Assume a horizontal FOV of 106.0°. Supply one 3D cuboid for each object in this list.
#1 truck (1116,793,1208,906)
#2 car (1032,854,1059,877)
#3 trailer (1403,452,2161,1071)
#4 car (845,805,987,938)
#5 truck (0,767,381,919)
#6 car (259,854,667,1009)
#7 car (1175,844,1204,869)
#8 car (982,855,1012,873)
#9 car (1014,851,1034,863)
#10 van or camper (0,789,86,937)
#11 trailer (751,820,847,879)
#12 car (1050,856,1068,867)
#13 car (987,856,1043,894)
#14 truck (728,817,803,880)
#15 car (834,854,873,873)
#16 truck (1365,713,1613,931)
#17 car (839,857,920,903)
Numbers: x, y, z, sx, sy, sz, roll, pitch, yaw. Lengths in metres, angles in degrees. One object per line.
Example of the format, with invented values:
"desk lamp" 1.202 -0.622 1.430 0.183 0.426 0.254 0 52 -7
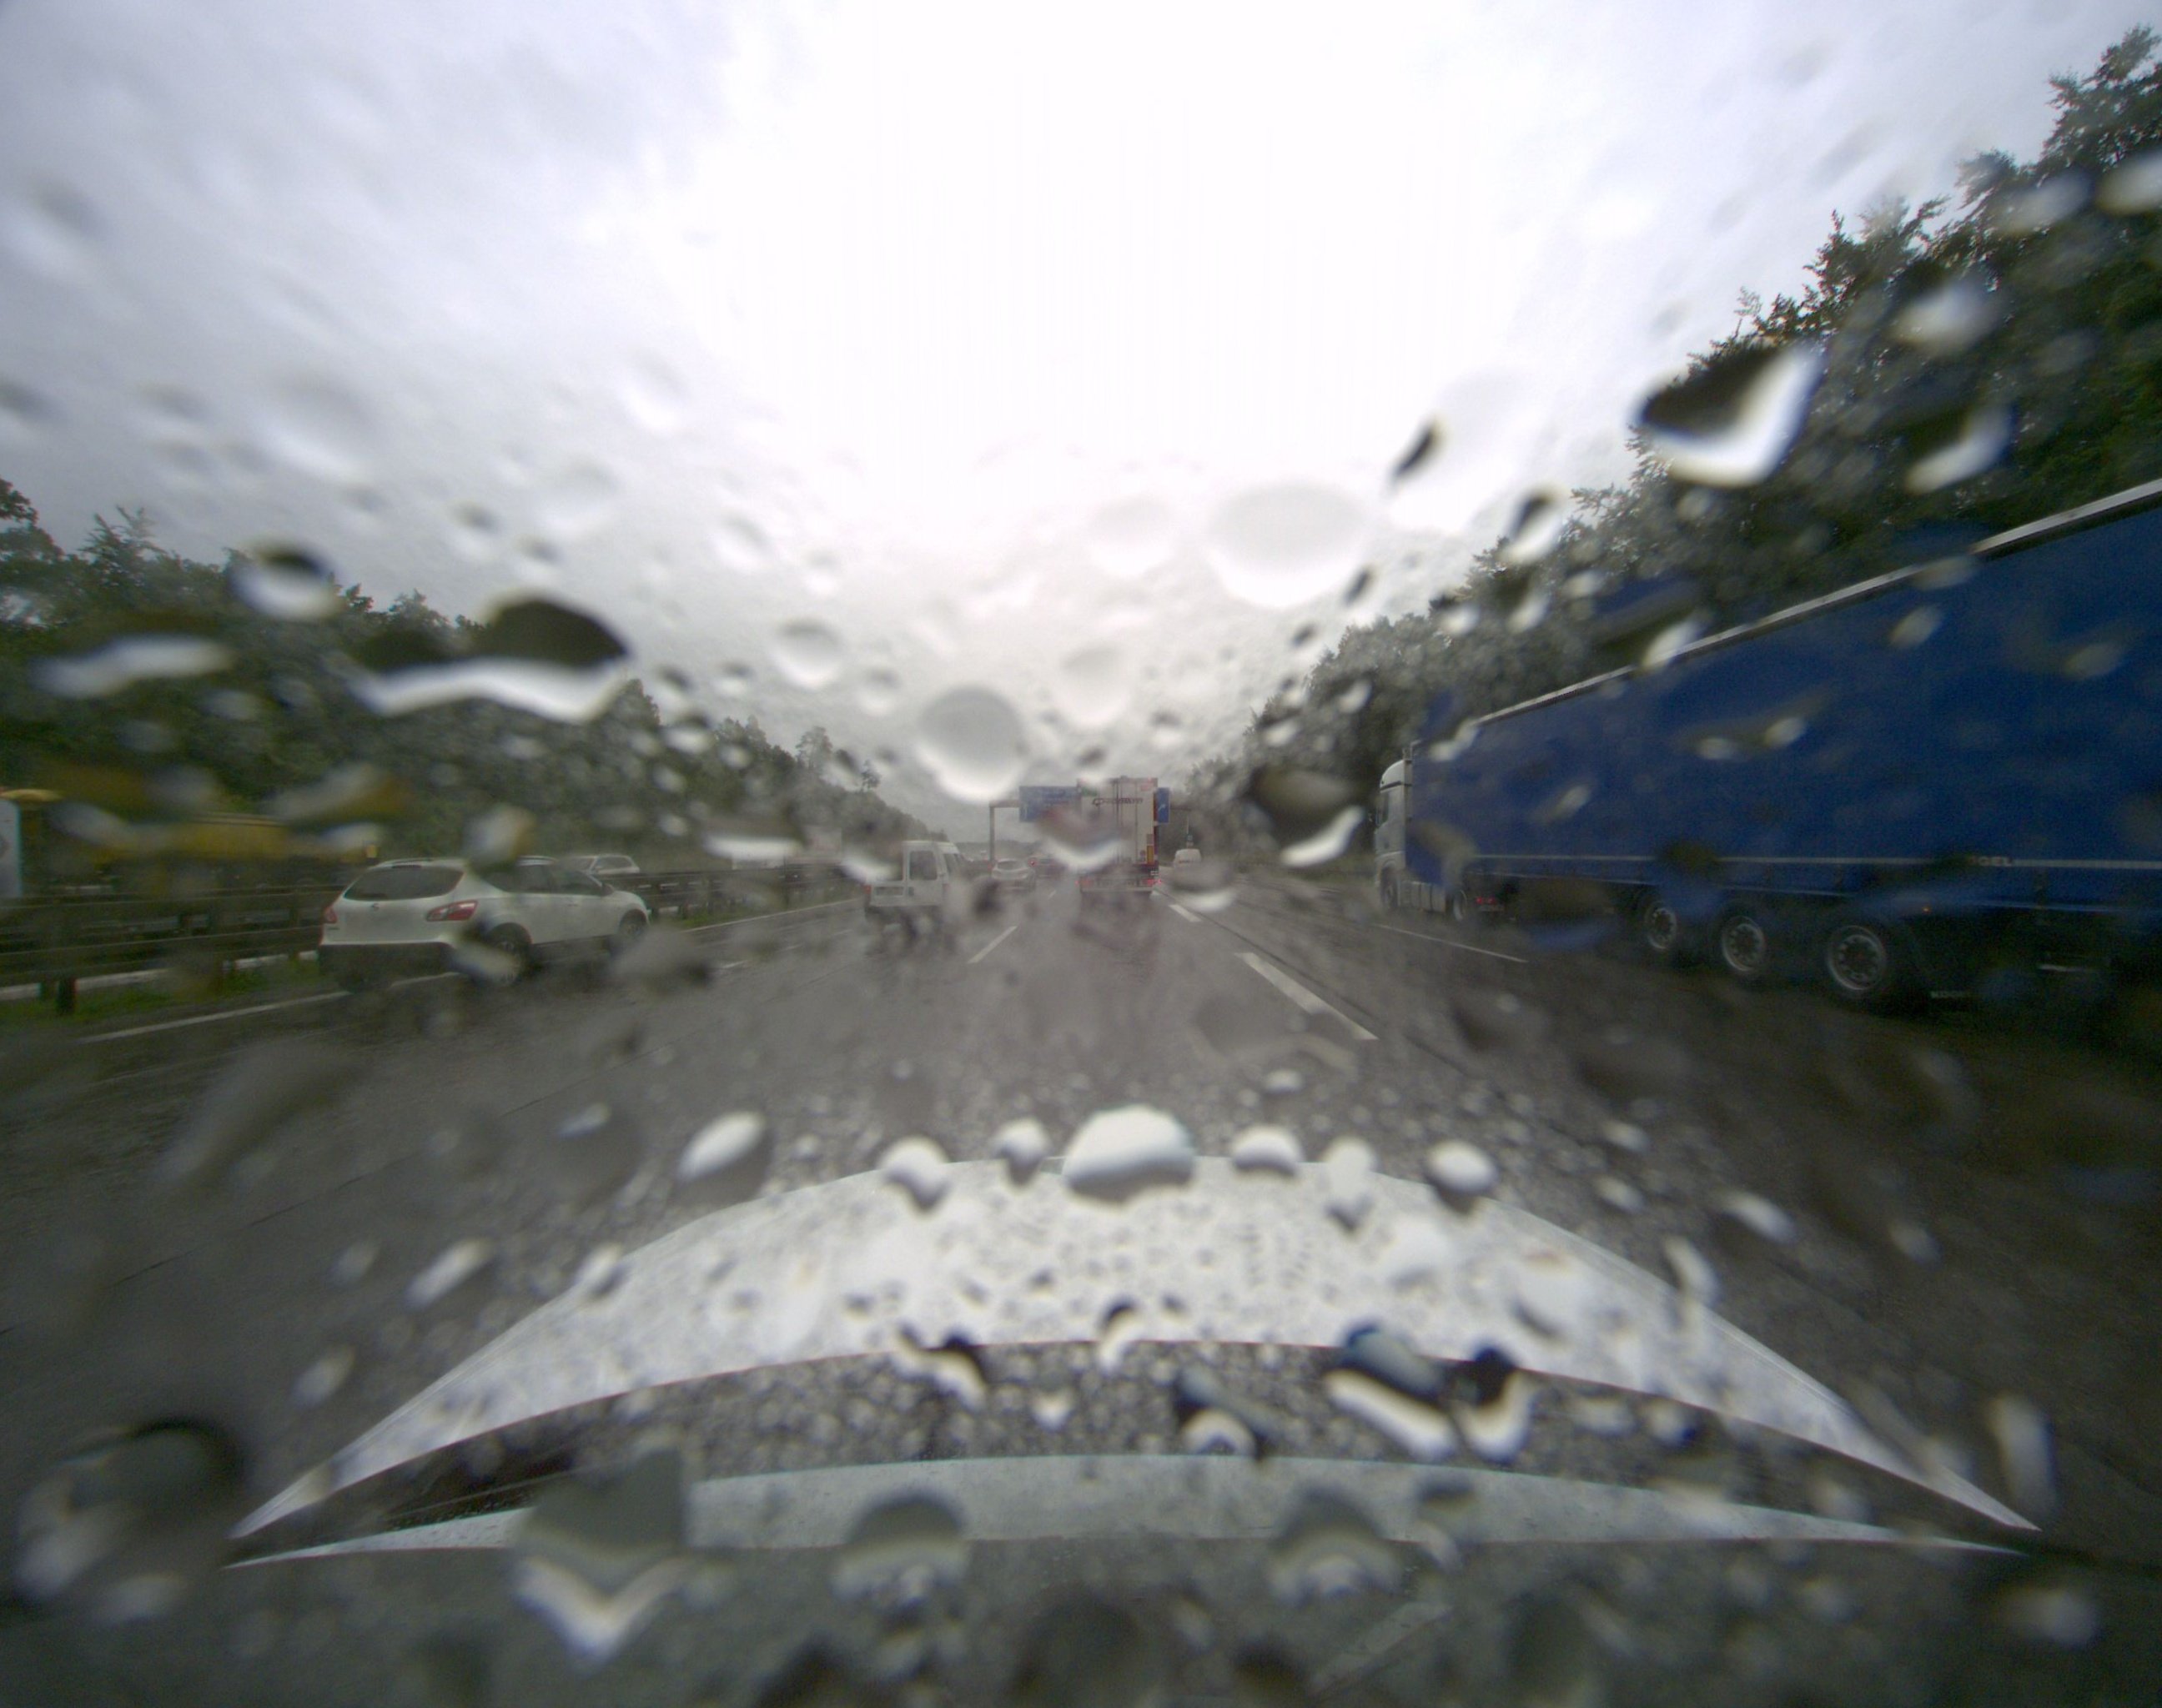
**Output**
"truck" 2.952 -0.112 31.339 2.859 3.562 11.314 0 0 4
"car" -2.574 0.834 59.874 1.840 1.591 4.464 0 0 -1
"trailer" 8.403 -0.596 11.448 2.544 4.014 13.717 0 0 1
"car" -3.505 0.325 18.430 2.206 2.573 5.014 0 0 -1
"truck" -25.905 -0.251 22.660 2.510 3.483 11.722 0 0 1
"car" -7.632 0.811 10.784 1.838 1.591 4.469 0 0 2
"car" 8.757 0.208 66.075 1.982 1.921 4.770 0 0 3
"car" -6.818 0.790 66.716 1.839 1.330 4.468 0 0 2
"car" -6.590 0.338 94.829 1.839 1.330 4.468 0 0 2
"van or camper" -22.162 0.177 13.168 2.158 2.870 8.006 0 0 2
"trailer" -21.329 -0.326 62.755 2.532 4.025 13.848 0 0 0
"car" -2.599 0.874 97.587 1.839 1.330 4.468 0 0 2
"car" -2.936 0.925 37.101 1.837 1.591 4.077 0 0 5
"truck" -21.320 -0.341 55.363 2.532 4.025 6.324 0 0 0
"car" -17.544 0.717 62.952 1.796 1.345 4.000 -2 0 0
"truck" 8.596 -0.588 18.079 2.592 4.014 6.013 0 0 1
"car" -7.680 0.955 31.487 1.838 1.591 4.469 0 0 2
